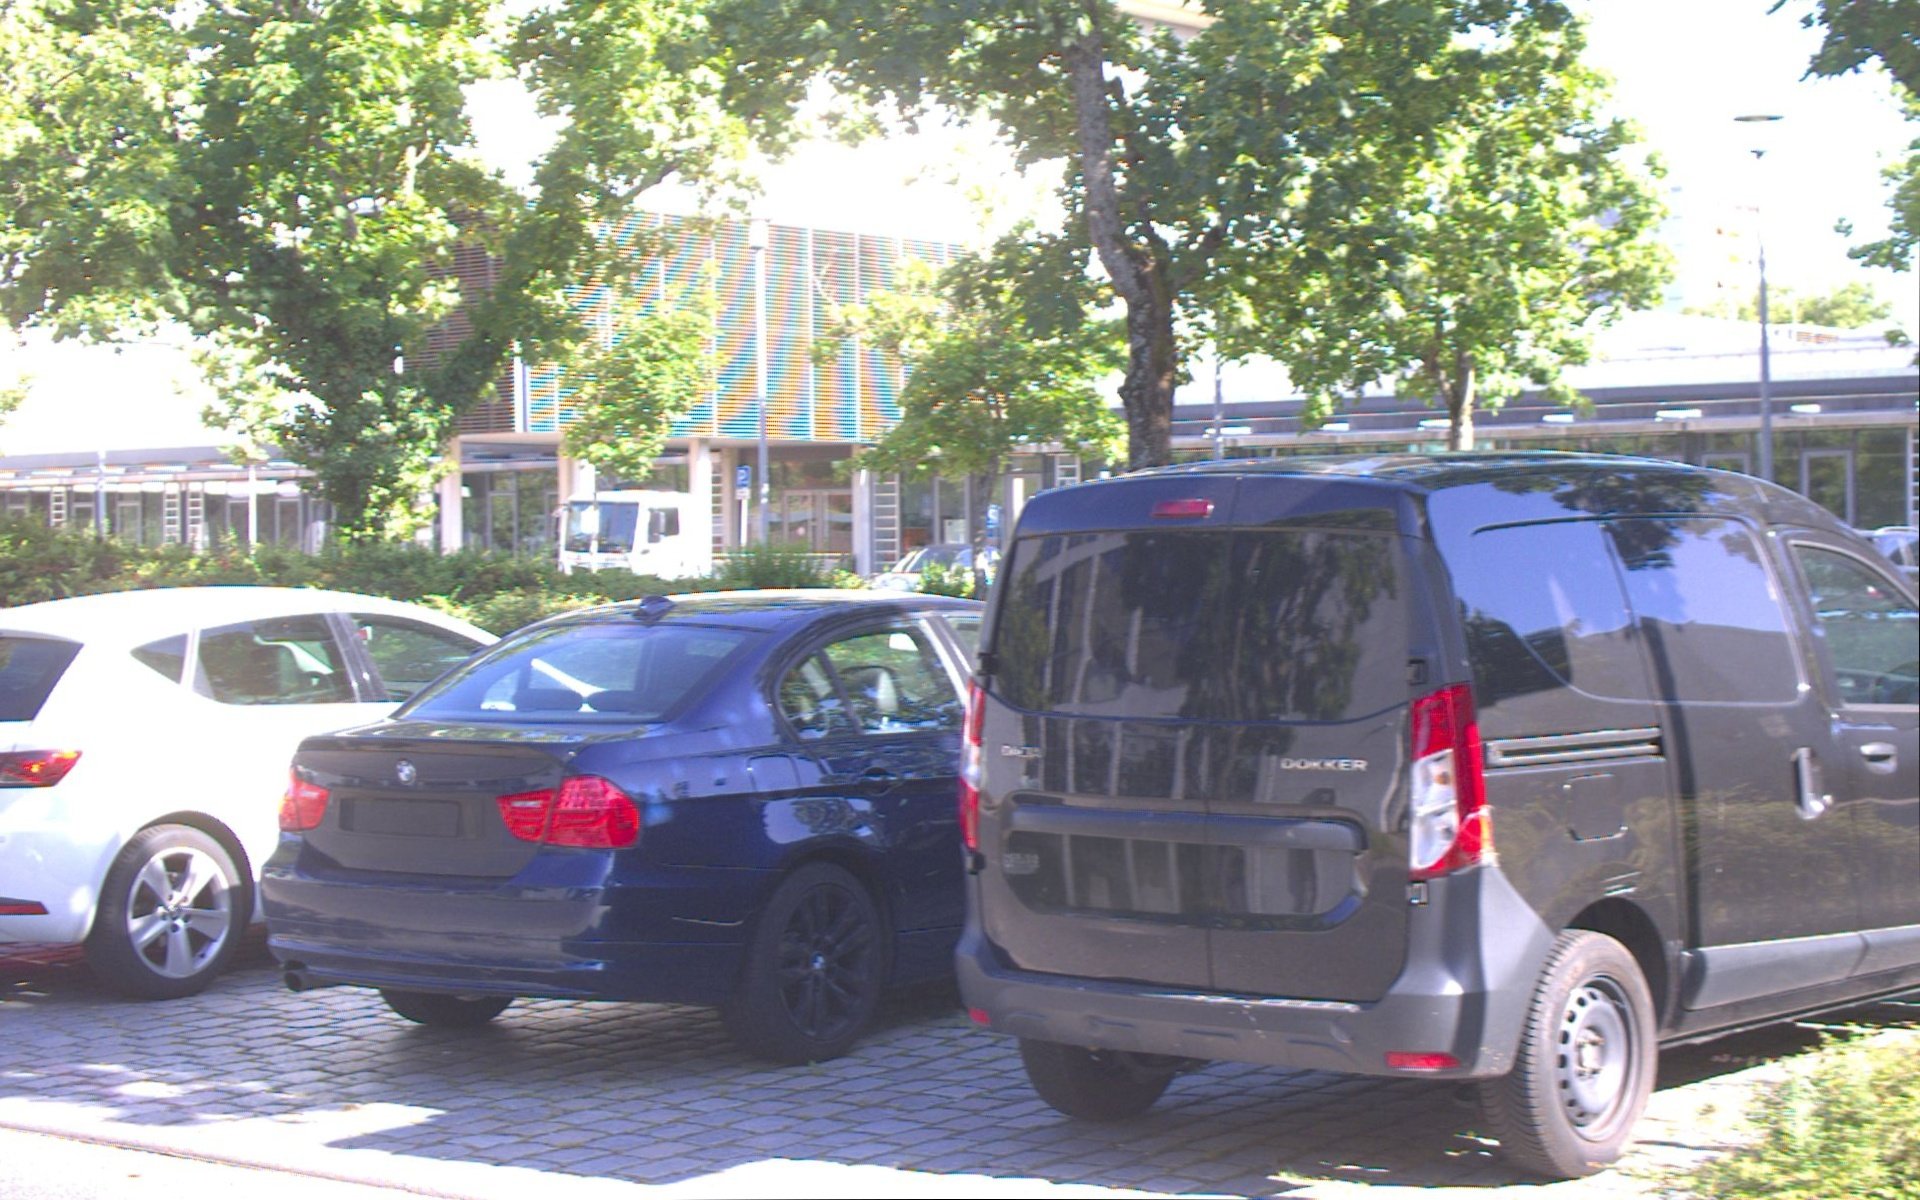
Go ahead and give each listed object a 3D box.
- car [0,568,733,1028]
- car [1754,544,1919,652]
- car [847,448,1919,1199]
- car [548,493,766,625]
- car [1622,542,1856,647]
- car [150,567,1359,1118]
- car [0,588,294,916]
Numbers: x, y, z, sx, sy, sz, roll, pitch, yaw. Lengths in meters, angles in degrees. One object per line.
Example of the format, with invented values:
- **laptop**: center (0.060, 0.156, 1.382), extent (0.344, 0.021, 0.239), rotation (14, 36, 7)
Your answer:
- **car**: center (-2.893, 0.660, 13.712), extent (1.806, 1.431, 3.904), rotation (1, 3, 38)
- **car**: center (13.676, -0.057, 51.445), extent (1.841, 1.492, 3.898), rotation (0, 2, 42)
- **car**: center (1.776, 0.509, 9.977), extent (1.878, 1.840, 4.159), rotation (0, 2, 40)
- **car**: center (-5.852, -0.815, 66.707), extent (2.231, 2.482, 3.637), rotation (0, 2, 42)
- **car**: center (11.984, -0.104, 52.733), extent (1.841, 1.492, 3.898), rotation (0, 2, 42)
- **car**: center (-0.513, 0.665, 11.817), extent (1.827, 1.401, 4.159), rotation (0, 2, 38)
- **car**: center (-5.078, 0.706, 15.536), extent (1.671, 1.421, 3.903), rotation (-1, 1, 38)
